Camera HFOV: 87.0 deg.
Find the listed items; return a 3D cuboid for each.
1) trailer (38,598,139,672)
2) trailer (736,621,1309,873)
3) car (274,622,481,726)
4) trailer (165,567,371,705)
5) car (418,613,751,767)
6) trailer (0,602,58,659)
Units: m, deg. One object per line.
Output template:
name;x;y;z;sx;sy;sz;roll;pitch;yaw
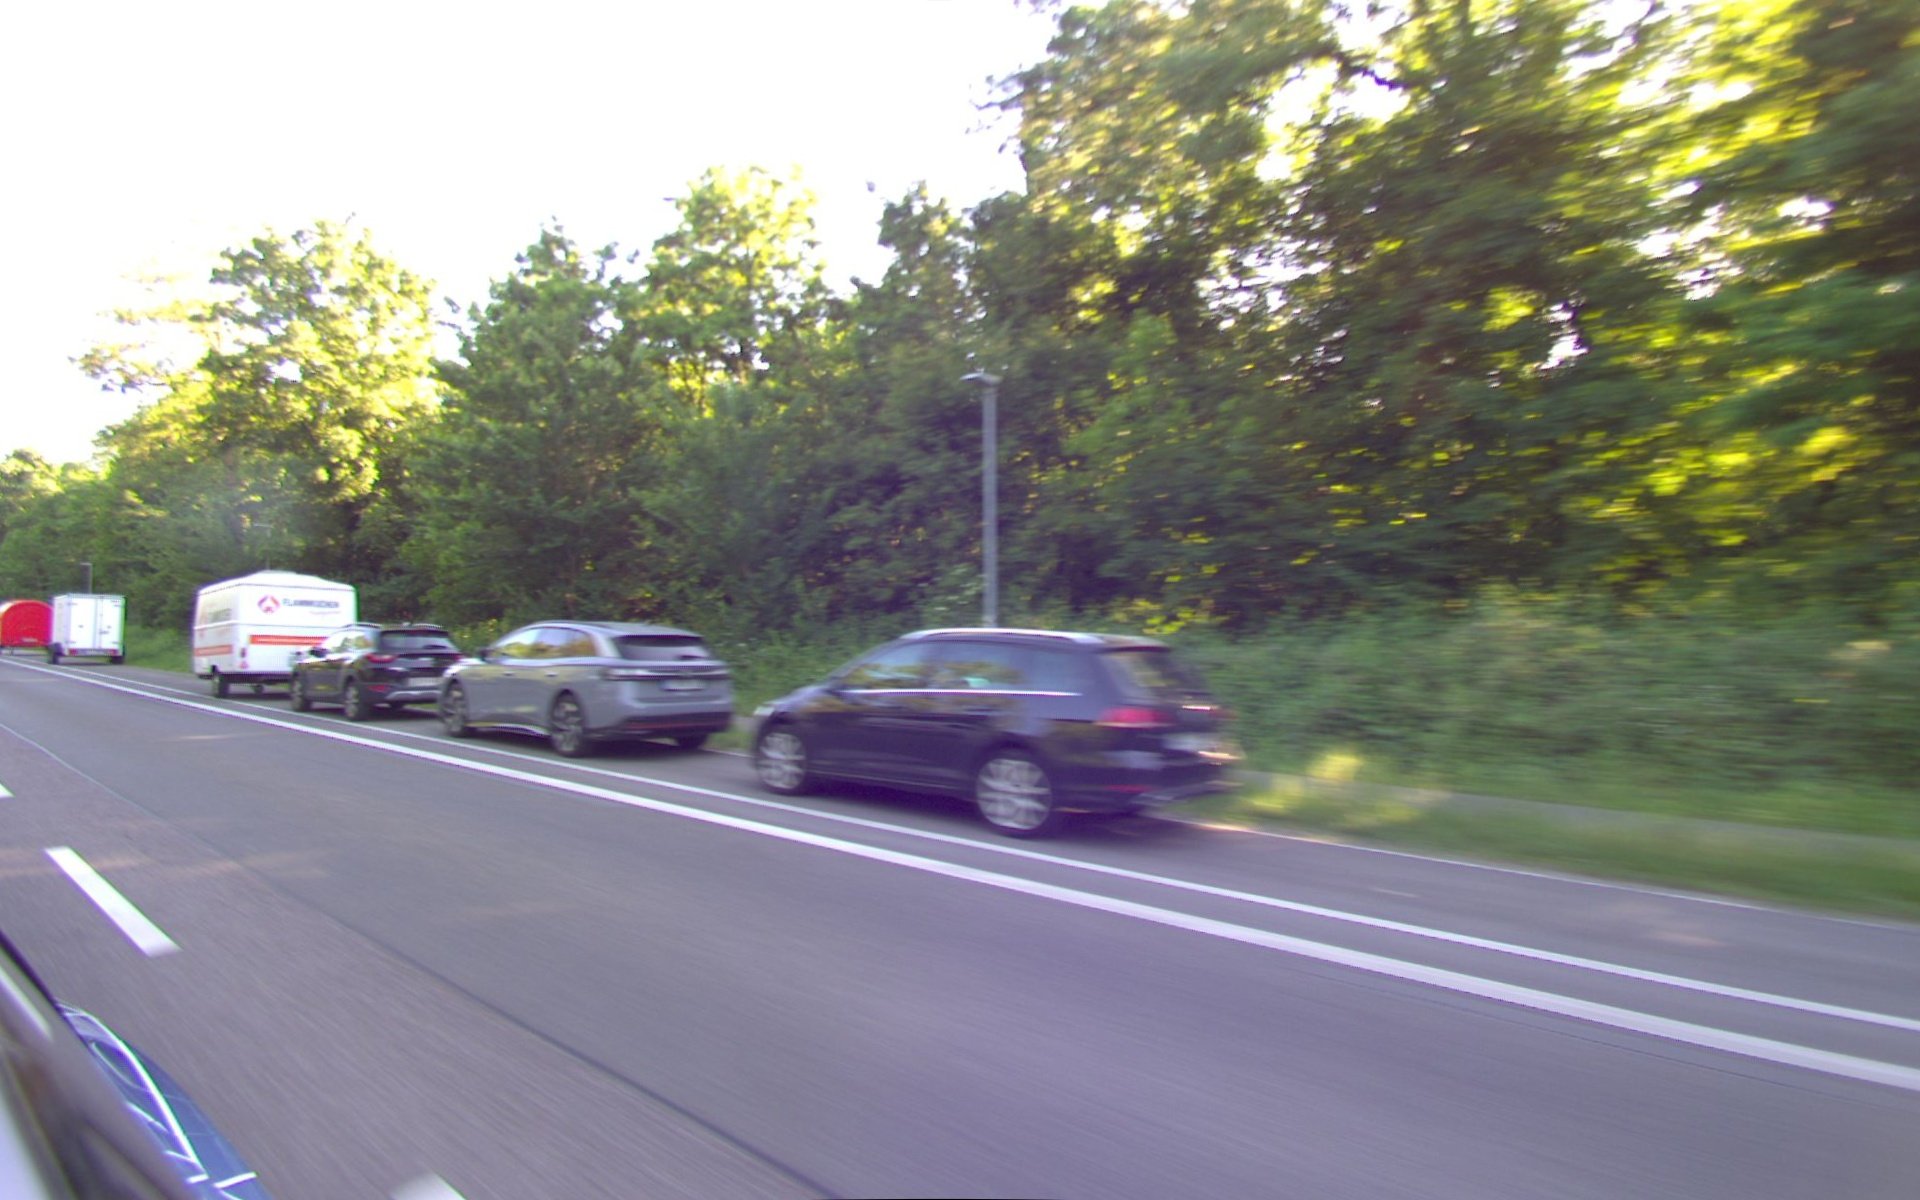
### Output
trailer;-31.026;1.221;36.007;3.556;2.499;2.046;-1;-2;38
trailer;0.282;0.927;8.206;4.464;1.477;1.822;-1;-1;41
car;-9.745;1.163;16.806;4.192;1.506;1.653;-1;-4;42
trailer;-14.441;0.725;21.049;4.338;2.548;2.323;-1;-2;38
car;-4.907;1.007;12.762;5.125;1.586;1.653;-1;-4;42
trailer;-42.433;1.365;45.596;3.556;2.499;2.046;-1;-2;38
